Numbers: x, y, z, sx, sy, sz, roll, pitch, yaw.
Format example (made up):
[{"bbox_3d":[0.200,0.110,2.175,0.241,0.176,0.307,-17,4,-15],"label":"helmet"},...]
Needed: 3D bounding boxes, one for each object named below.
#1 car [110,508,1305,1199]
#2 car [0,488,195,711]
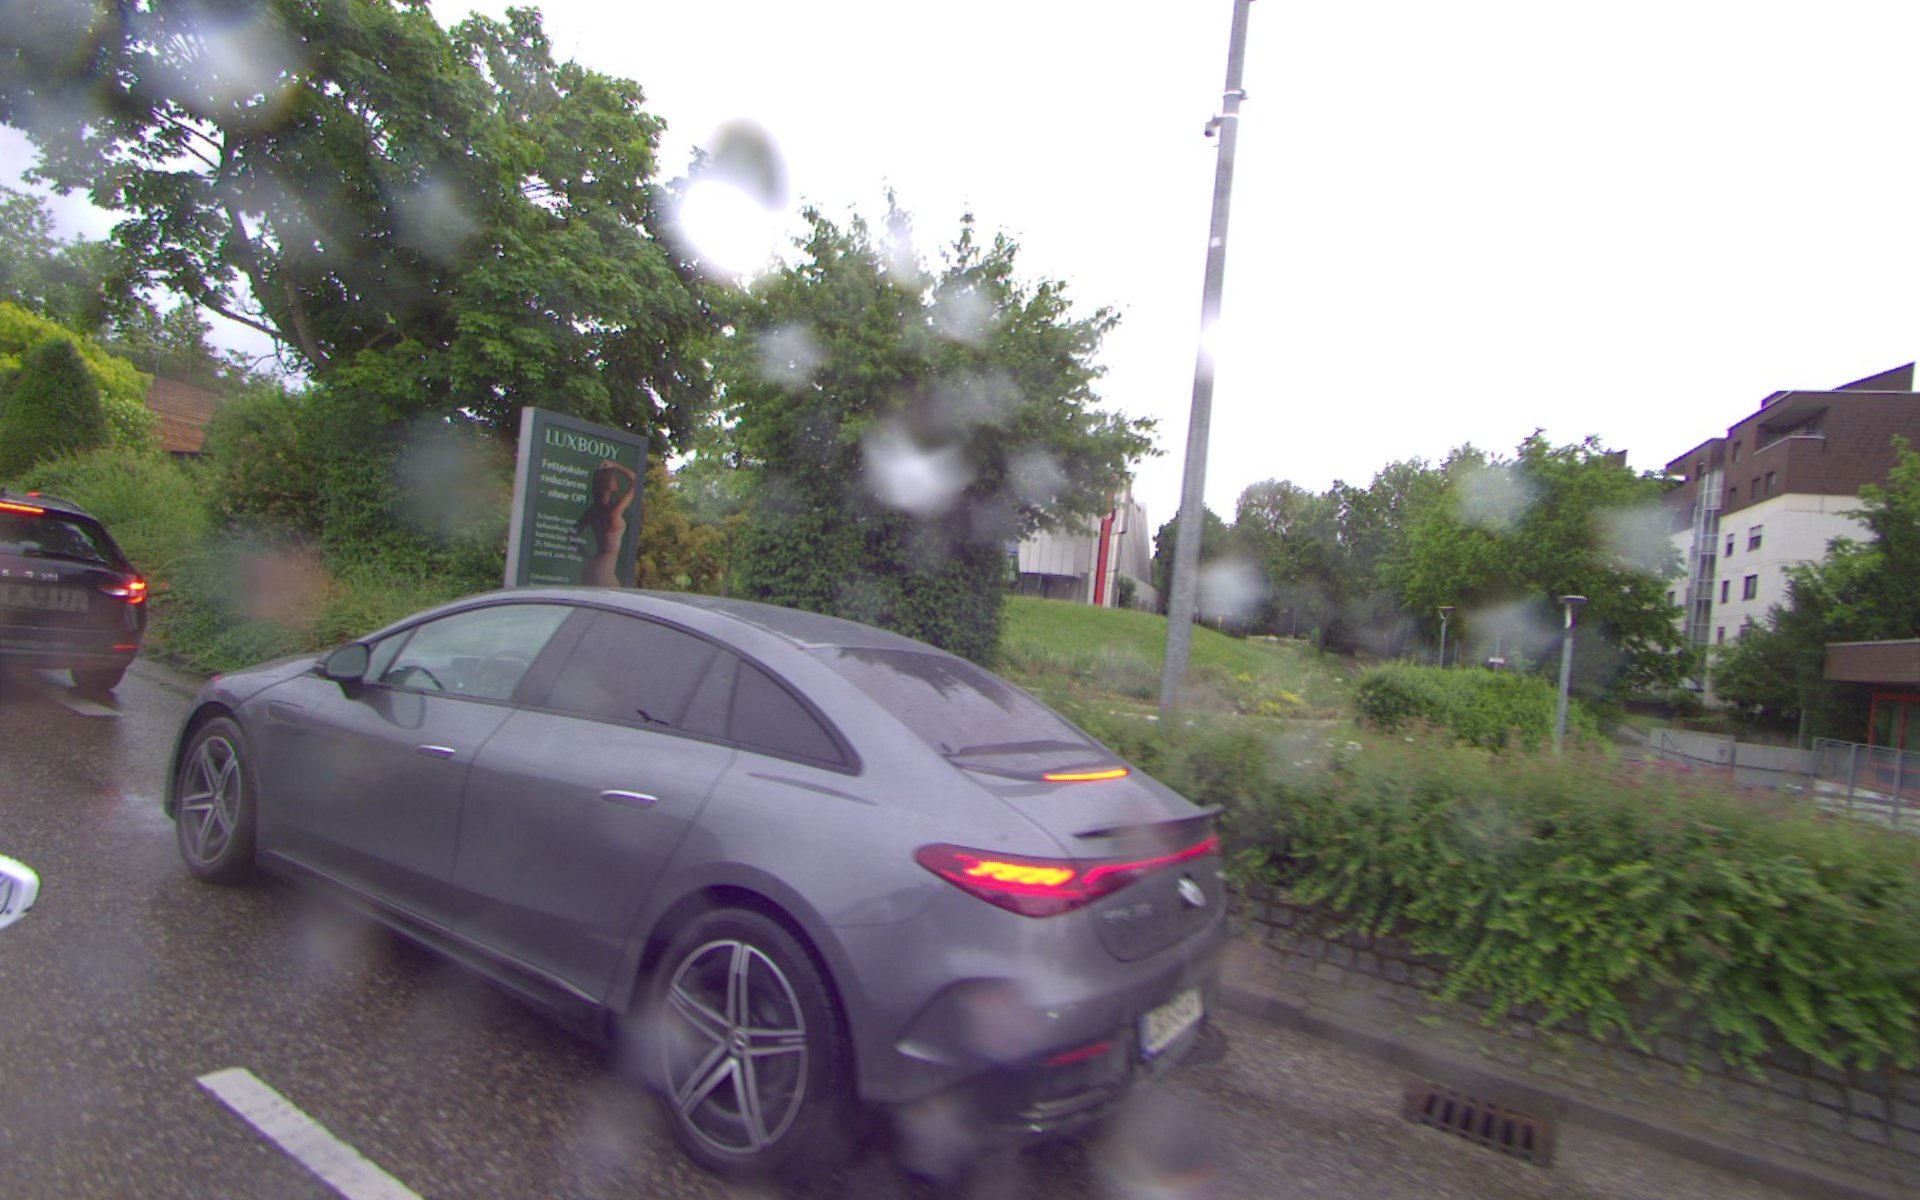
[{"bbox_3d":[-1.295,0.681,4.137,4.727,1.483,1.842,8,-2,31],"label":"car"},{"bbox_3d":[-8.229,-0.220,8.119,4.279,1.483,1.841,8,-2,33],"label":"car"}]
